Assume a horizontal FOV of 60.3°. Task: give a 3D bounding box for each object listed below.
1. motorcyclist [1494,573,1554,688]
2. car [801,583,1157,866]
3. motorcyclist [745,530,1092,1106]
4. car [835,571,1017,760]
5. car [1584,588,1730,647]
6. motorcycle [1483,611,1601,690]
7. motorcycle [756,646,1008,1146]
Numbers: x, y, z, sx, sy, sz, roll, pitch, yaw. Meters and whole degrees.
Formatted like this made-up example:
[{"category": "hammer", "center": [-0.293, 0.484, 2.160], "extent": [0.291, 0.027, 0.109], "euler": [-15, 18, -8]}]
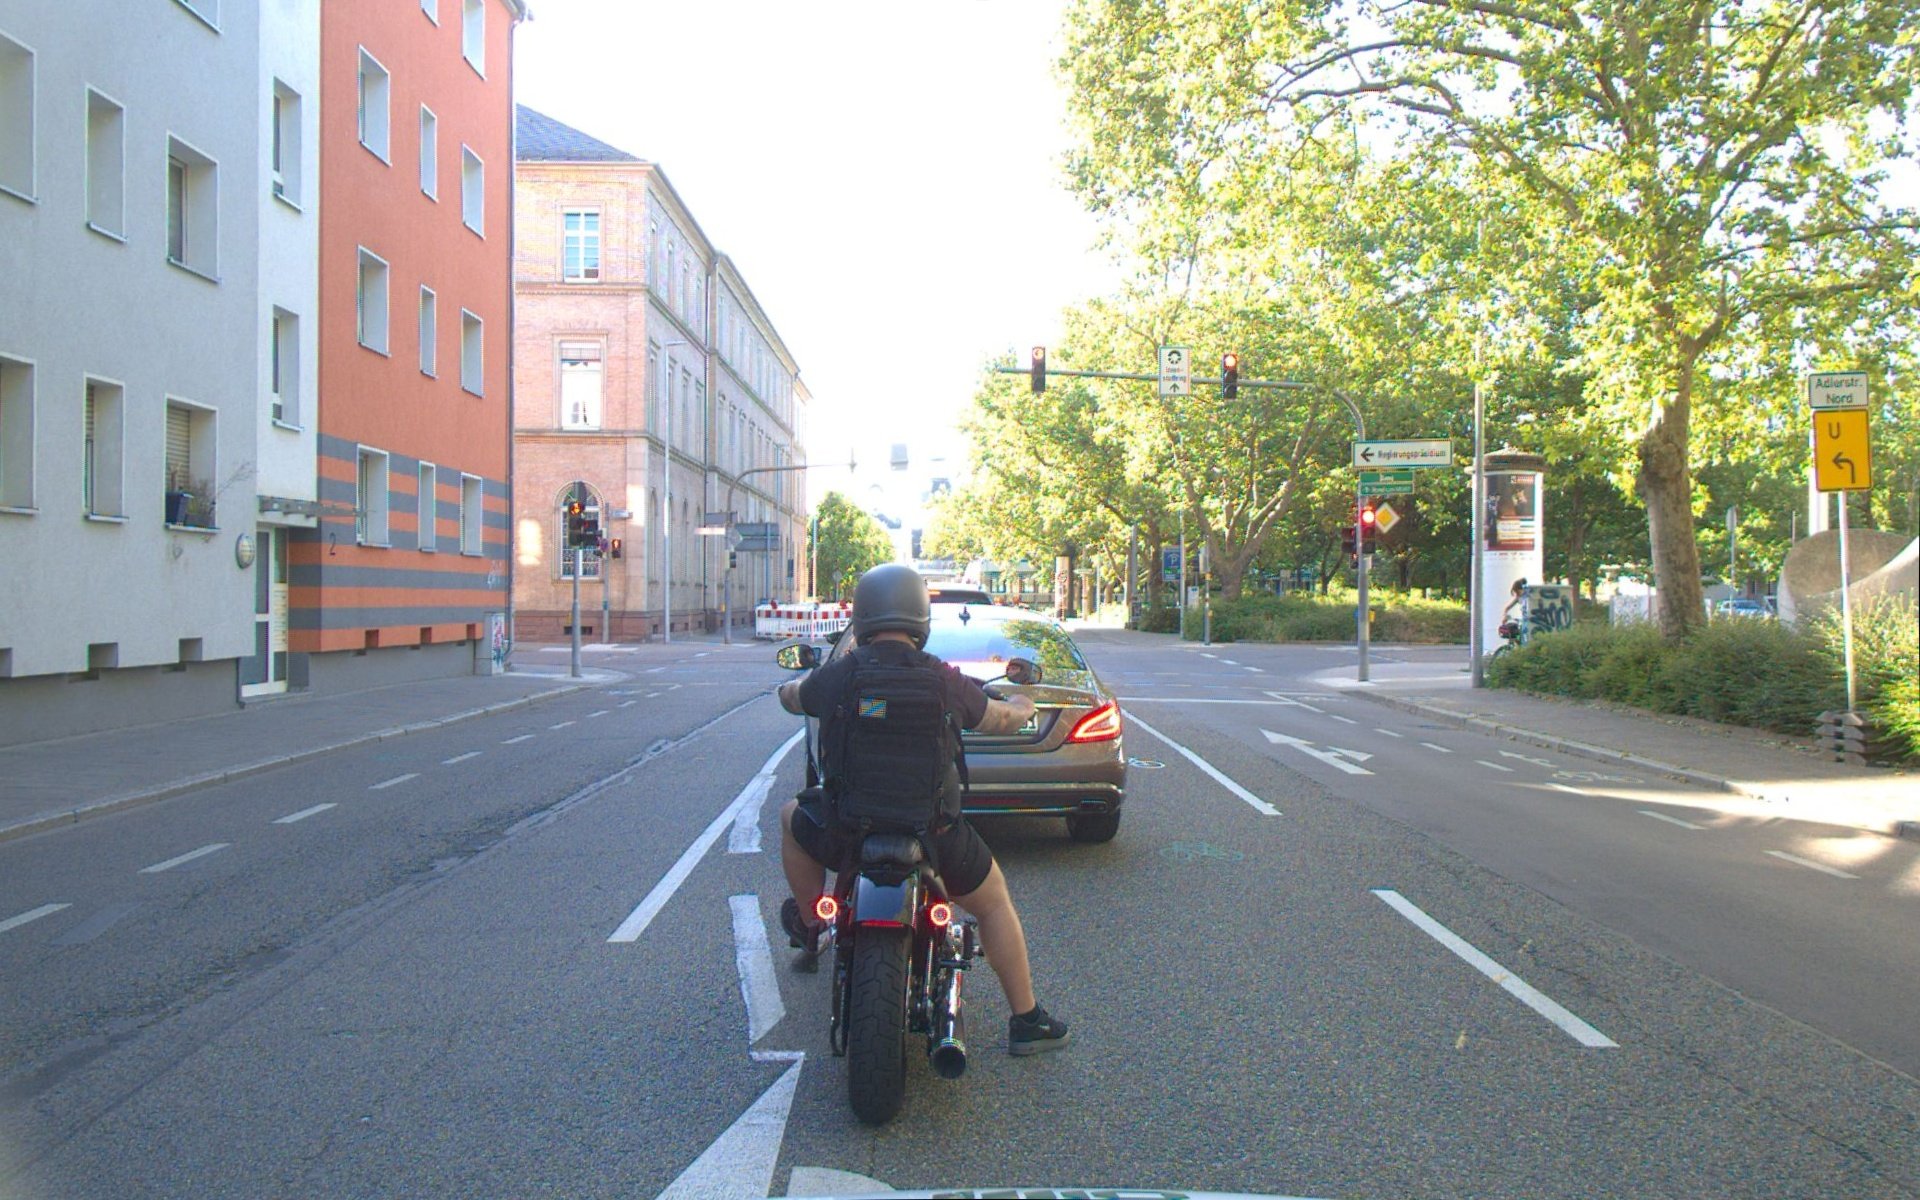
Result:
[{"category": "motorcyclist", "center": [9.483, 0.505, 27.824], "extent": [0.805, 1.896, 0.672], "euler": [1, -1, 4]}, {"category": "car", "center": [-0.087, 0.685, 11.115], "extent": [1.790, 1.512, 4.326], "euler": [1, 0, -7]}, {"category": "motorcyclist", "center": [-0.125, 0.629, 5.315], "extent": [0.970, 1.639, 1.120], "euler": [1, 0, -1]}, {"category": "car", "center": [-0.332, 0.601, 16.958], "extent": [1.618, 1.681, 3.999], "euler": [1, 0, -1]}, {"category": "car", "center": [21.990, 0.538, 52.283], "extent": [3.907, 1.803, 1.737], "euler": [0, 0, -3]}, {"category": "motorcycle", "center": [9.775, 0.837, 27.813], "extent": [1.743, 1.265, 0.723], "euler": [1, 0, 4]}, {"category": "motorcycle", "center": [-0.220, 0.812, 5.406], "extent": [0.646, 1.261, 2.057], "euler": [1, 0, -1]}]
